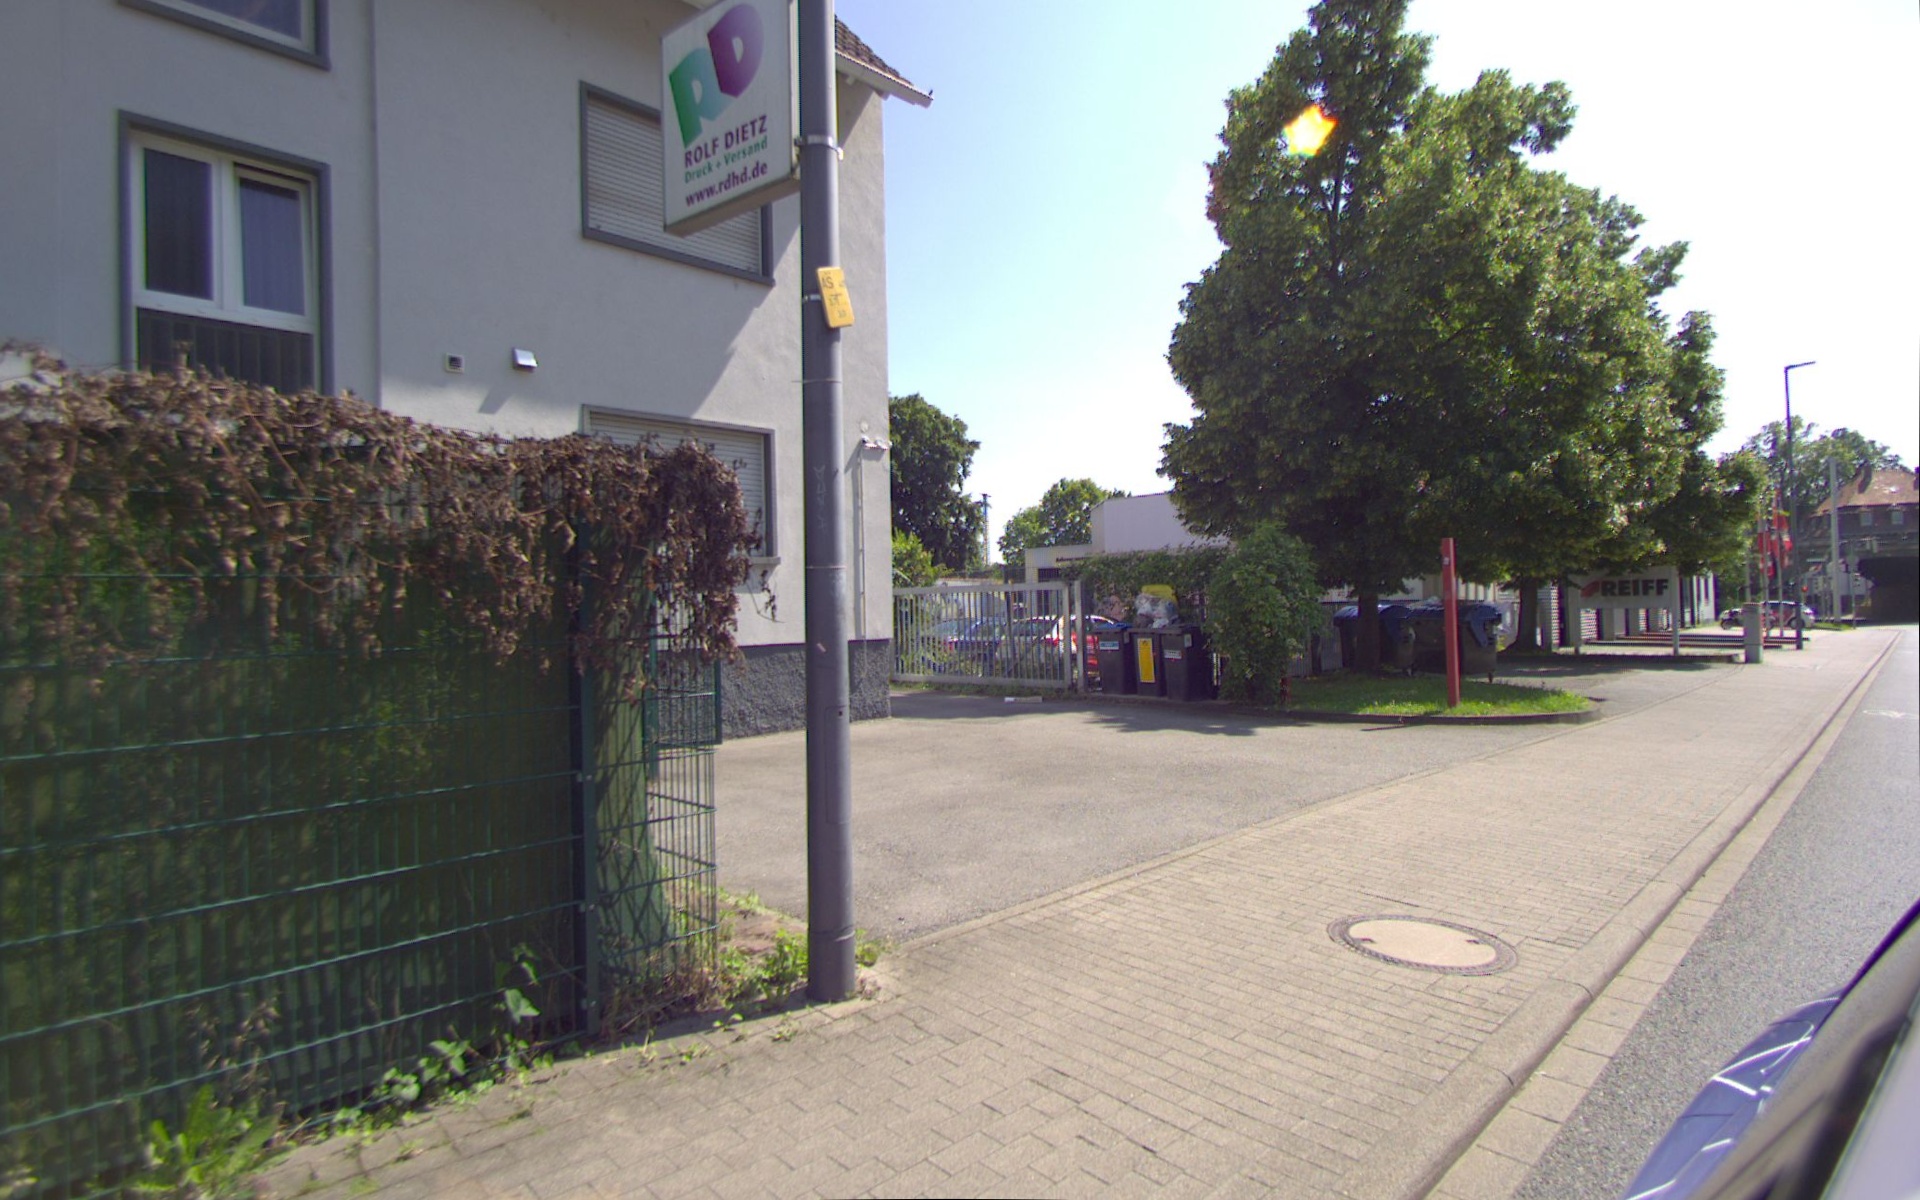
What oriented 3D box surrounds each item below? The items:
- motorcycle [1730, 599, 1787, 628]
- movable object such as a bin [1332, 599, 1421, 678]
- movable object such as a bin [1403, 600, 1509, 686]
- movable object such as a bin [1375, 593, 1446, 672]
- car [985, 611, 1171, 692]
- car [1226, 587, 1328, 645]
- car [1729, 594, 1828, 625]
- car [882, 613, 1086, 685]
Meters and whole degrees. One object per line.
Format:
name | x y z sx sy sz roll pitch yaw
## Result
motorcycle | 39.916 0.664 50.615 2.183 1.325 0.720 2 2 44
movable object such as a bin | 8.136 0.734 19.819 0.866 1.448 1.323 -2 0 -20
movable object such as a bin | 8.966 0.754 18.350 0.970 1.448 1.391 -2 0 -20
movable object such as a bin | 9.463 0.675 21.250 0.977 1.566 1.302 -3 0 41
car | 2.502 0.984 20.799 1.743 1.478 3.935 -2 -2 45
car | 11.383 0.609 36.232 1.831 1.954 3.935 -4 -4 45
car | 43.908 0.481 54.305 3.987 1.481 1.860 3 2 43
car | 0.648 1.019 22.725 1.888 1.396 4.691 -1 0 45
